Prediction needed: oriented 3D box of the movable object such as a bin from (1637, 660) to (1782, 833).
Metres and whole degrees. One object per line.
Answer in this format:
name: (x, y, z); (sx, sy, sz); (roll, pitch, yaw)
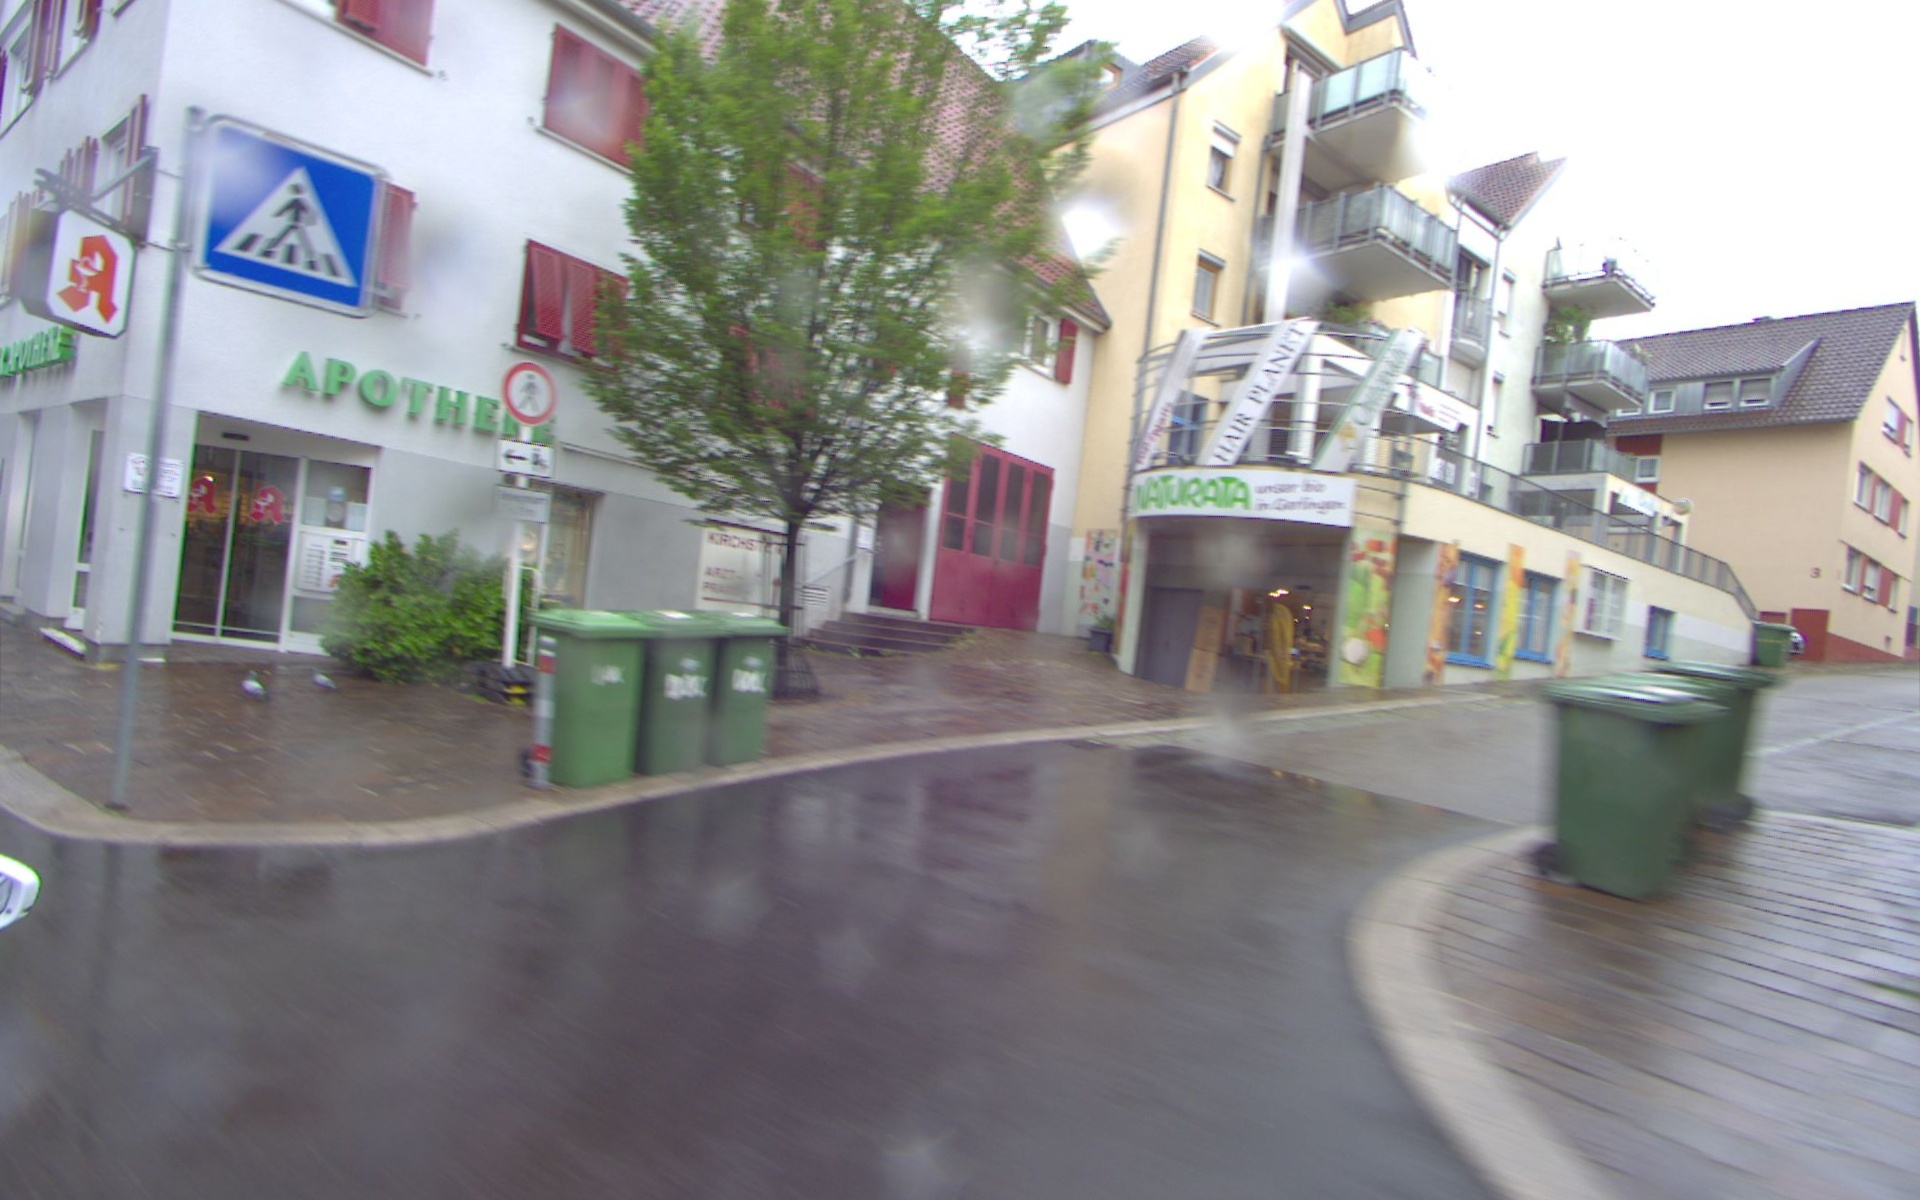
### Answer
movable object such as a bin: (5.124, 0.978, 6.885); (0.510, 1.070, 0.619); (4, 1, -37)

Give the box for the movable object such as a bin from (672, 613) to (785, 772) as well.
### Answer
movable object such as a bin: (-1.673, 0.652, 7.286); (0.540, 1.070, 0.500); (4, 1, 35)

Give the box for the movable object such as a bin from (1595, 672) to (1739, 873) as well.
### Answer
movable object such as a bin: (4.229, 0.994, 6.031); (0.616, 1.070, 0.513); (4, 1, 37)

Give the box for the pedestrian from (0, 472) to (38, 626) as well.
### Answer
pedestrian: (-11.428, -0.643, 11.341); (1.158, 1.719, 1.178); (6, 1, 32)

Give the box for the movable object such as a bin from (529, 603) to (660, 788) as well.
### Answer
movable object such as a bin: (-2.303, 0.582, 6.341); (0.540, 1.070, 0.500); (4, 1, 35)

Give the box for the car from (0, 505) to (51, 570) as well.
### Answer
car: (-25.208, -1.710, 24.831); (3.974, 1.533, 1.888); (6, -1, -45)

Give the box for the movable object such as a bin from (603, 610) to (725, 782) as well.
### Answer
movable object such as a bin: (-2.002, 0.631, 6.807); (0.540, 1.070, 0.500); (4, 1, 35)

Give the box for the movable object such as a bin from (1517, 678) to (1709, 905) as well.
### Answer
movable object such as a bin: (3.473, 0.991, 5.375); (0.508, 1.070, 0.621); (4, 1, -25)
